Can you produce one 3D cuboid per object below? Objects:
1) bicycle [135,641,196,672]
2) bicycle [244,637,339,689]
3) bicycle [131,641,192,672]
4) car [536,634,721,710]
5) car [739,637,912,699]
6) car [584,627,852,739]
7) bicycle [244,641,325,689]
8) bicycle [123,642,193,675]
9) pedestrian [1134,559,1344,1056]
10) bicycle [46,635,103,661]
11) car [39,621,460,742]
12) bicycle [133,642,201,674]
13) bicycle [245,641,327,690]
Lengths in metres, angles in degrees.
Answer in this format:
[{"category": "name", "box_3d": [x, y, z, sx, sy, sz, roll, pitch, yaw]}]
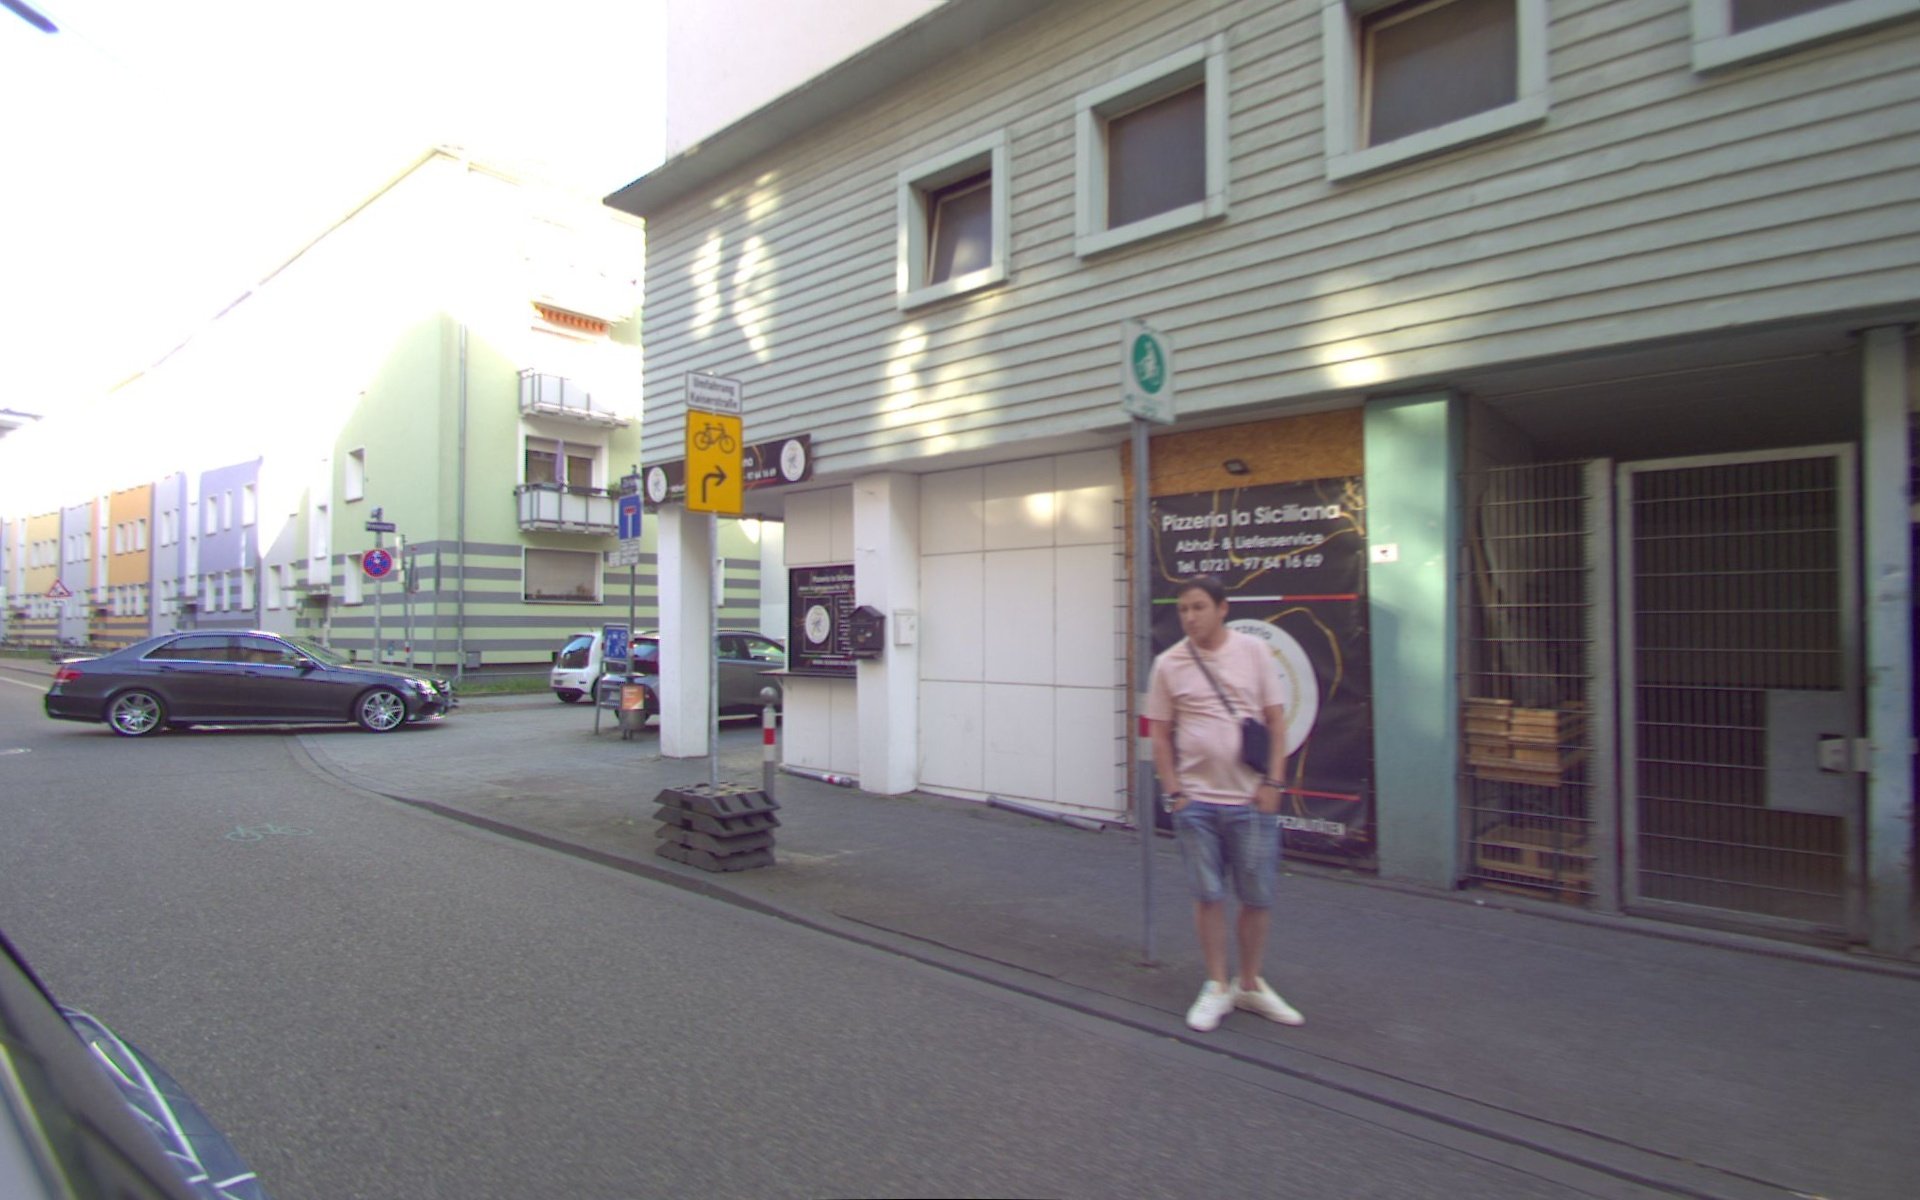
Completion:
[{"category": "bicycle", "box_3d": [-28.188, 1.997, 35.911, 0.388, 0.953, 1.636, -2, 1, 41]}, {"category": "bicycle", "box_3d": [-16.574, 1.533, 25.117, 0.749, 1.109, 1.797, -2, 1, 40]}, {"category": "bicycle", "box_3d": [-28.520, 1.999, 36.147, 0.388, 0.953, 1.636, -2, 1, 41]}, {"category": "car", "box_3d": [-6.890, 1.449, 21.240, 1.723, 1.448, 3.300, -2, -3, 40]}, {"category": "car", "box_3d": [-3.292, 1.639, 25.469, 1.758, 1.408, 4.271, -1, -2, 39]}, {"category": "car", "box_3d": [-3.675, 1.211, 15.935, 1.691, 1.531, 3.892, -2, -3, 39]}, {"category": "bicycle", "box_3d": [-17.726, 1.688, 26.593, 0.387, 1.109, 1.719, -2, 1, 34]}, {"category": "bicycle", "box_3d": [-27.087, 1.972, 34.205, 0.388, 0.953, 1.780, -2, 1, 41]}, {"category": "pedestrian", "box_3d": [1.053, 0.706, 3.798, 0.625, 1.682, 0.489, -2, 0, 29]}, {"category": "bicycle", "box_3d": [-39.557, 2.149, 45.243, 0.653, 0.990, 1.786, -2, 2, 37]}, {"category": "car", "box_3d": [-9.887, 1.125, 14.533, 4.590, 1.490, 1.792, 2, 0, -17]}, {"category": "bicycle", "box_3d": [-27.370, 1.979, 34.938, 0.388, 0.953, 1.780, -2, 1, 41]}, {"category": "bicycle", "box_3d": [-17.474, 1.682, 26.266, 0.387, 1.109, 1.719, -2, 1, 34]}]
